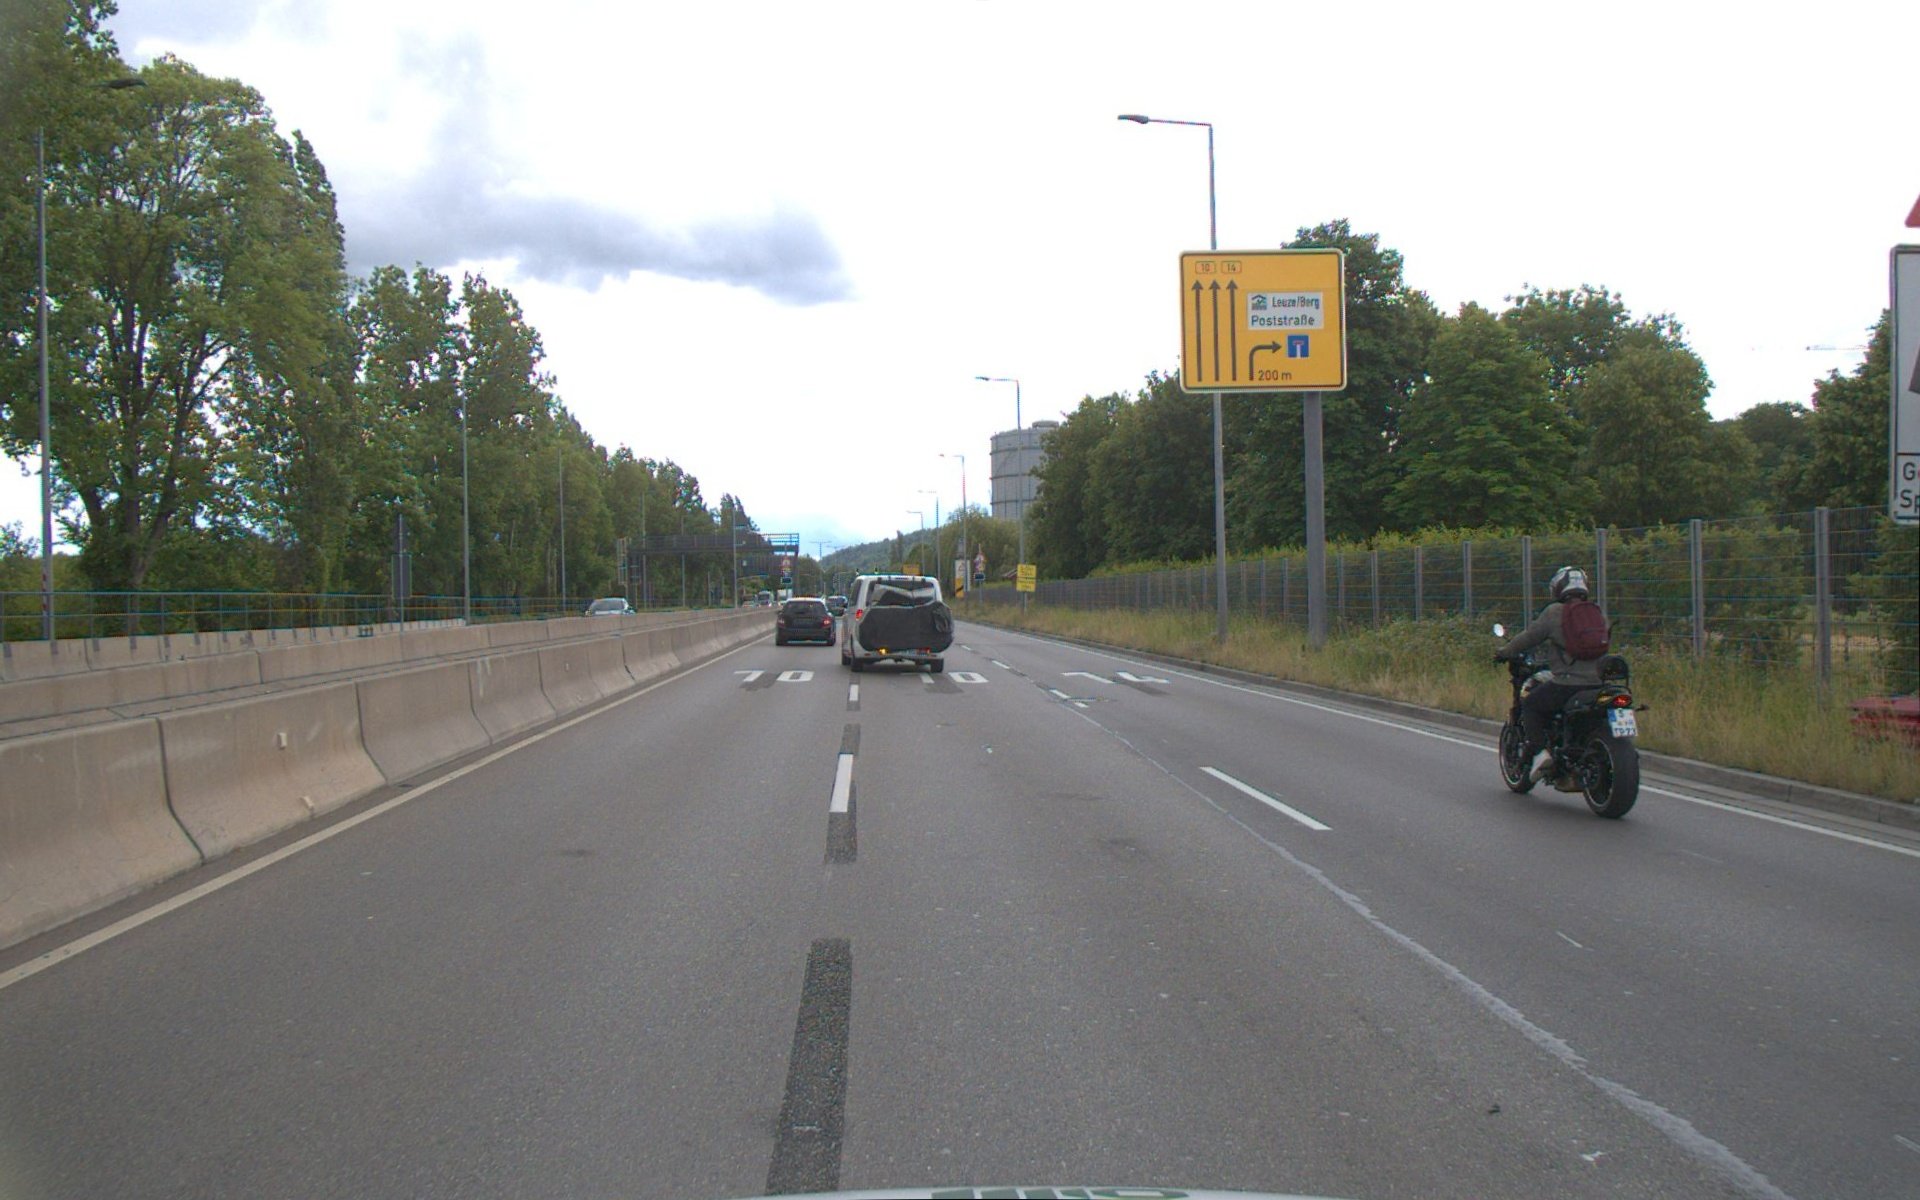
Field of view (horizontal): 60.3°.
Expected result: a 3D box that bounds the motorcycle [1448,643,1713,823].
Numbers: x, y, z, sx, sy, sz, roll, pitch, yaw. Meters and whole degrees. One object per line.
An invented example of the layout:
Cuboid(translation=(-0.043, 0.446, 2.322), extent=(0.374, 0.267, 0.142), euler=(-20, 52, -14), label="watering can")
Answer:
Cuboid(translation=(4.459, 0.901, 12.154), extent=(0.729, 1.102, 2.662), euler=(-1, 0, -5), label="motorcycle")

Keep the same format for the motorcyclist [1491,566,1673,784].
Cuboid(translation=(4.470, 0.515, 11.945), extent=(0.895, 1.502, 0.966), euler=(0, 0, -6), label="motorcyclist")

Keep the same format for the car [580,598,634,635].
Cuboid(translation=(-13.786, 0.643, 64.774), extent=(1.700, 1.398, 3.611), euler=(0, 0, -6), label="car")

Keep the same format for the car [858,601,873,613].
Cuboid(translation=(-13.344, 0.980, 233.514), extent=(1.955, 1.683, 3.995), euler=(0, 0, -6), label="car")

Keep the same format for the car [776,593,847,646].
Cuboid(translation=(-4.457, 0.561, 50.003), extent=(1.778, 1.459, 4.065), euler=(-2, 0, -1), label="car")

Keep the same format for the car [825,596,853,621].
Cuboid(translation=(-8.766, 0.632, 120.267), extent=(1.954, 1.702, 3.997), euler=(1, -1, -4), label="car")

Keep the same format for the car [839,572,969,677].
Cuboid(translation=(-1.228, 0.437, 33.358), extent=(1.956, 1.891, 5.630), euler=(2, 0, -8), label="car")
